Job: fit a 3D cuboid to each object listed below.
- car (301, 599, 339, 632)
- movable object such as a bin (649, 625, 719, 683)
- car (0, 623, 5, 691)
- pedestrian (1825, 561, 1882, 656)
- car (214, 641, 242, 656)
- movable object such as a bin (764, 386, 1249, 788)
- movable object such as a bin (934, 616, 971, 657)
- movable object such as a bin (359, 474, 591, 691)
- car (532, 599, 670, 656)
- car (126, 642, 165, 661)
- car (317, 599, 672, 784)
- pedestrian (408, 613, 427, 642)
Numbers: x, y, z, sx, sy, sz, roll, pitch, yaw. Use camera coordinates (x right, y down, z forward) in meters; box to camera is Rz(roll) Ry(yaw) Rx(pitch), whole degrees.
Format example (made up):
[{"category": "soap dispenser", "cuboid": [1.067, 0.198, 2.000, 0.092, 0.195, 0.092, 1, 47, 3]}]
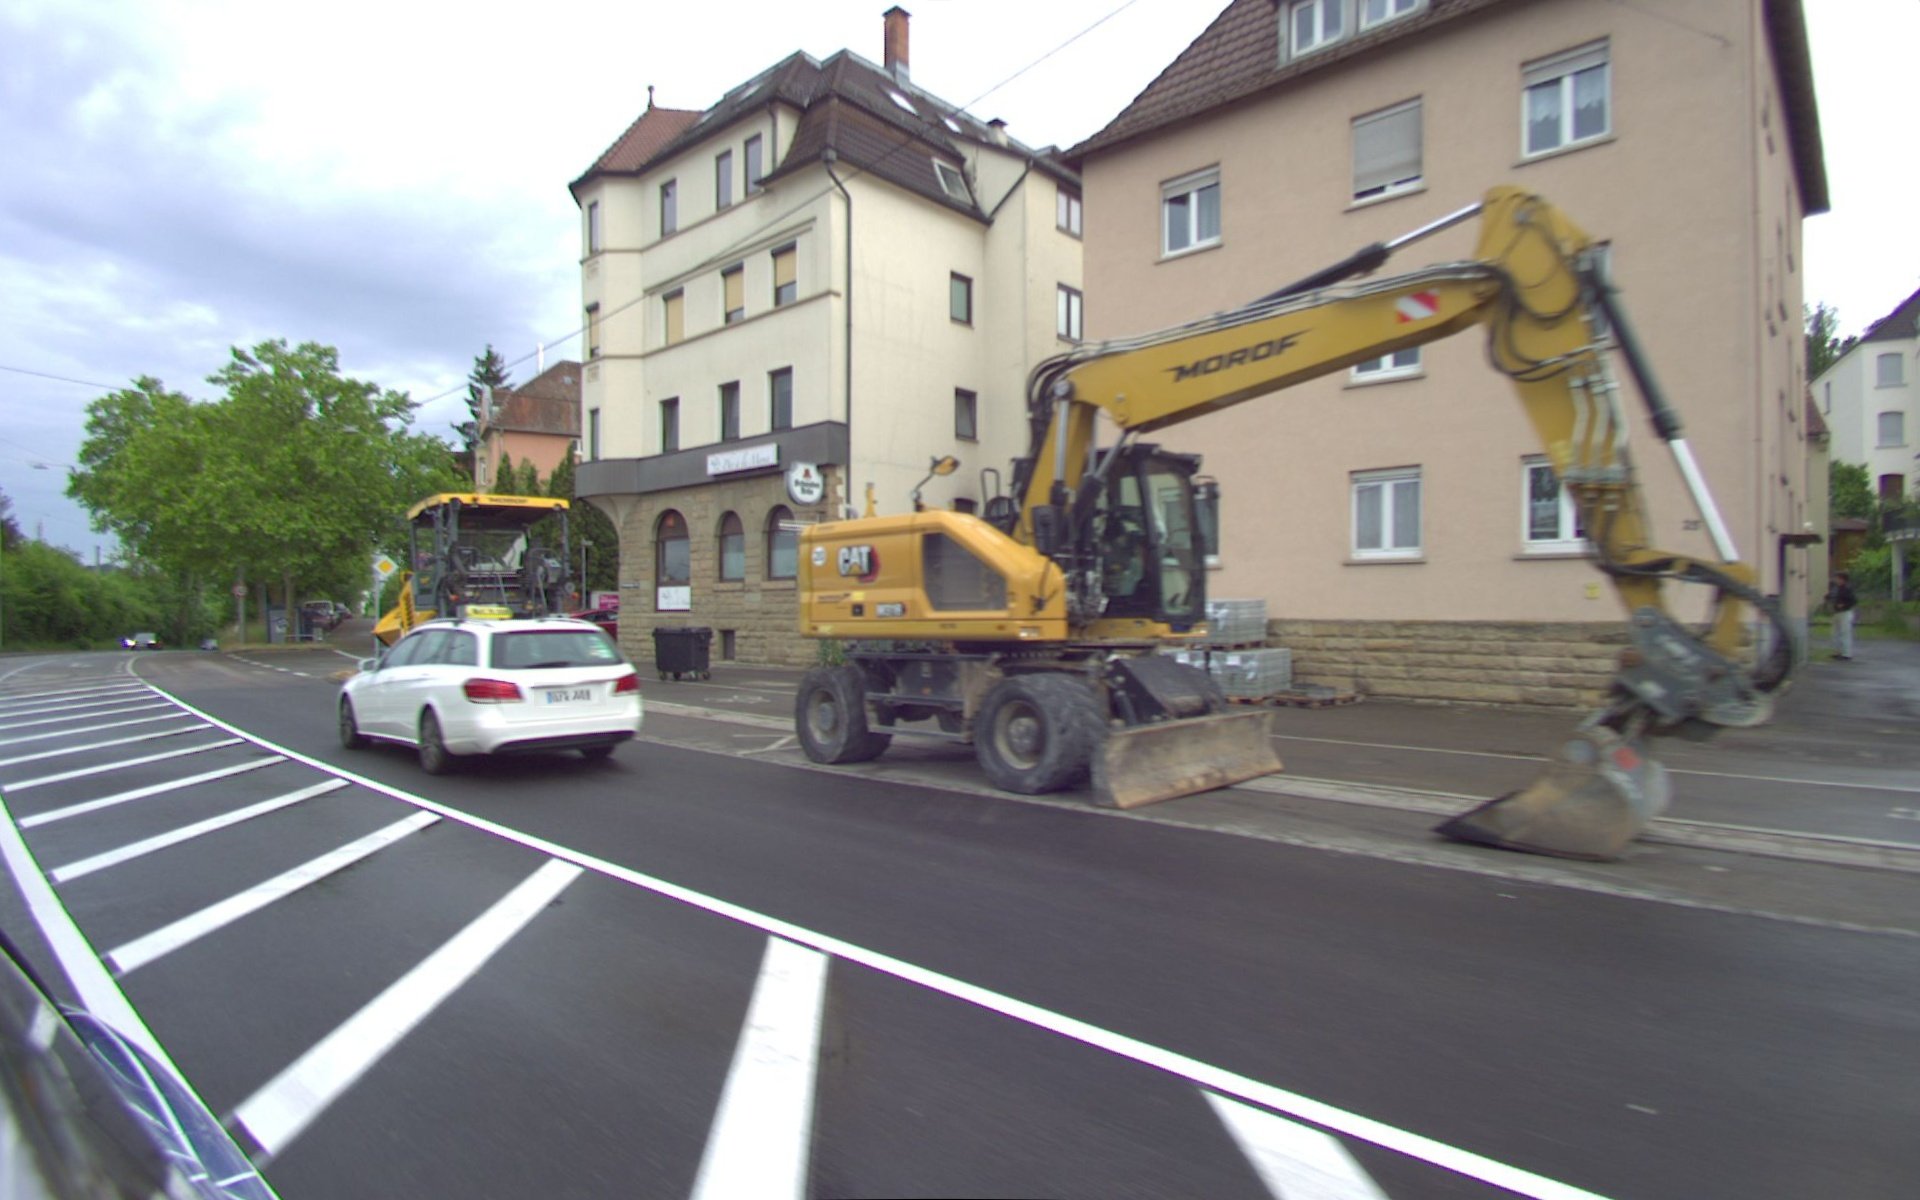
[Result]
[{"category": "car", "cuboid": [-42.878, 1.067, 67.852, 1.966, 2.029, 4.641, -2, -2, -30]}, {"category": "movable object such as a bin", "cuboid": [-6.198, 1.209, 22.776, 1.194, 1.232, 0.888, -3, -2, 18]}, {"category": "car", "cuboid": [-21.366, 1.220, 20.887, 1.950, 1.517, 4.008, -1, -2, -37]}, {"category": "pedestrian", "cuboid": [19.574, 0.196, 22.183, 0.791, 2.029, 0.809, -4, -2, 39]}, {"category": "car", "cuboid": [-74.846, 5.006, 103.569, 2.043, 1.363, 4.726, -1, -2, -33]}, {"category": "movable object such as a bin", "cuboid": [0.372, -0.051, 10.515, 4.127, 3.197, 2.839, -3, -2, 45]}, {"category": "movable object such as a bin", "cuboid": [-0.190, 0.910, 25.230, 0.646, 0.981, 0.615, -4, -2, 39]}, {"category": "movable object such as a bin", "cuboid": [-10.326, -0.188, 21.228, 2.741, 3.885, 5.994, -1, -2, -42]}, {"category": "car", "cuboid": [-13.027, 0.961, 37.023, 1.930, 1.585, 4.499, -4, 2, 31]}, {"category": "car", "cuboid": [-64.714, 4.101, 80.427, 1.966, 1.453, 4.011, -1, -2, -33]}, {"category": "car", "cuboid": [-5.202, 0.801, 10.973, 4.620, 1.567, 1.907, -1, 0, 43]}, {"category": "pedestrian", "cuboid": [-26.610, 1.349, 49.654, 0.780, 1.365, 0.793, -2, -2, -31]}]
